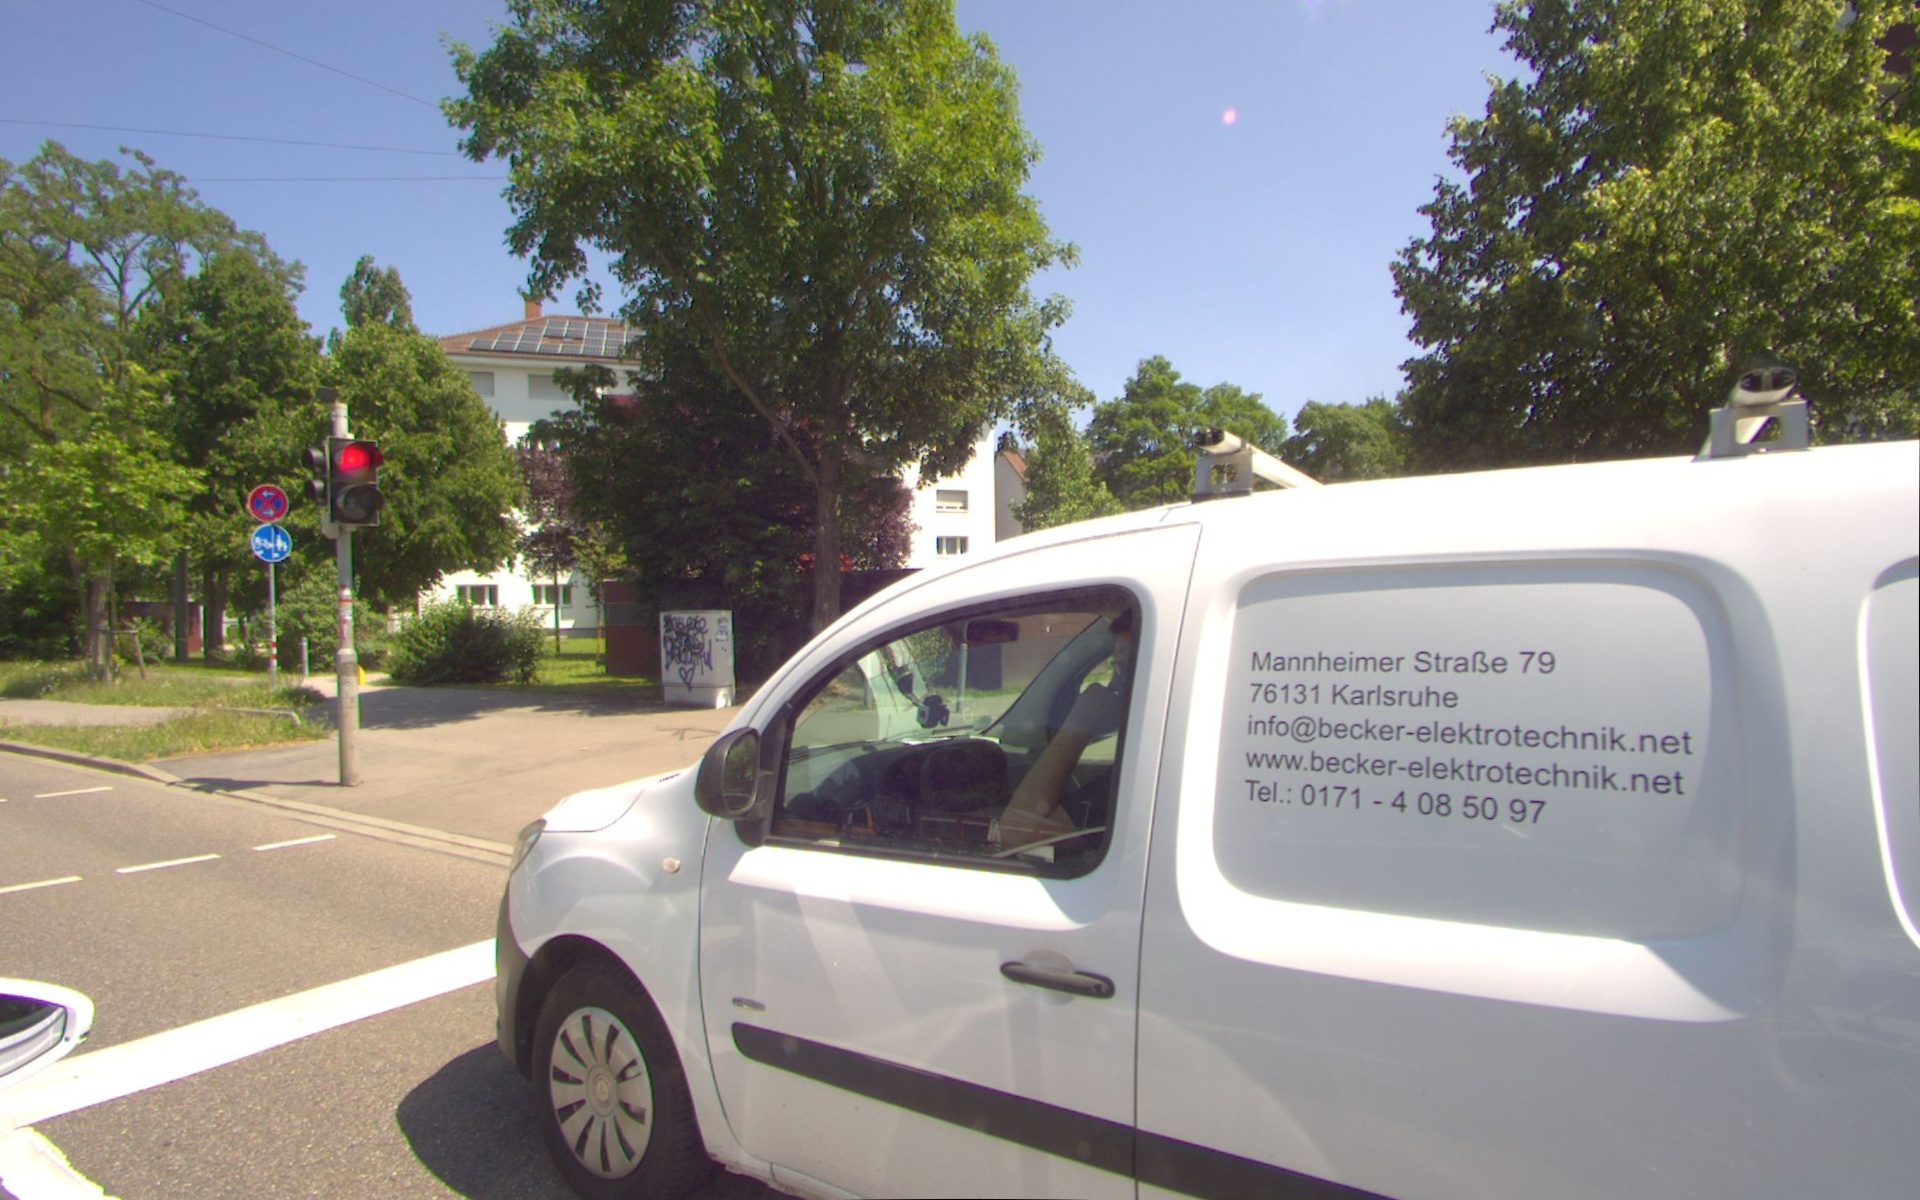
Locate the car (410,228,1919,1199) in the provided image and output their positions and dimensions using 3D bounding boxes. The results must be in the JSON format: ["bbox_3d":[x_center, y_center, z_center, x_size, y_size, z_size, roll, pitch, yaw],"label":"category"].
[{"bbox_3d":[0.727,0.564,2.475,4.393,1.906,1.820,-1,-1,33],"label":"car"}]
